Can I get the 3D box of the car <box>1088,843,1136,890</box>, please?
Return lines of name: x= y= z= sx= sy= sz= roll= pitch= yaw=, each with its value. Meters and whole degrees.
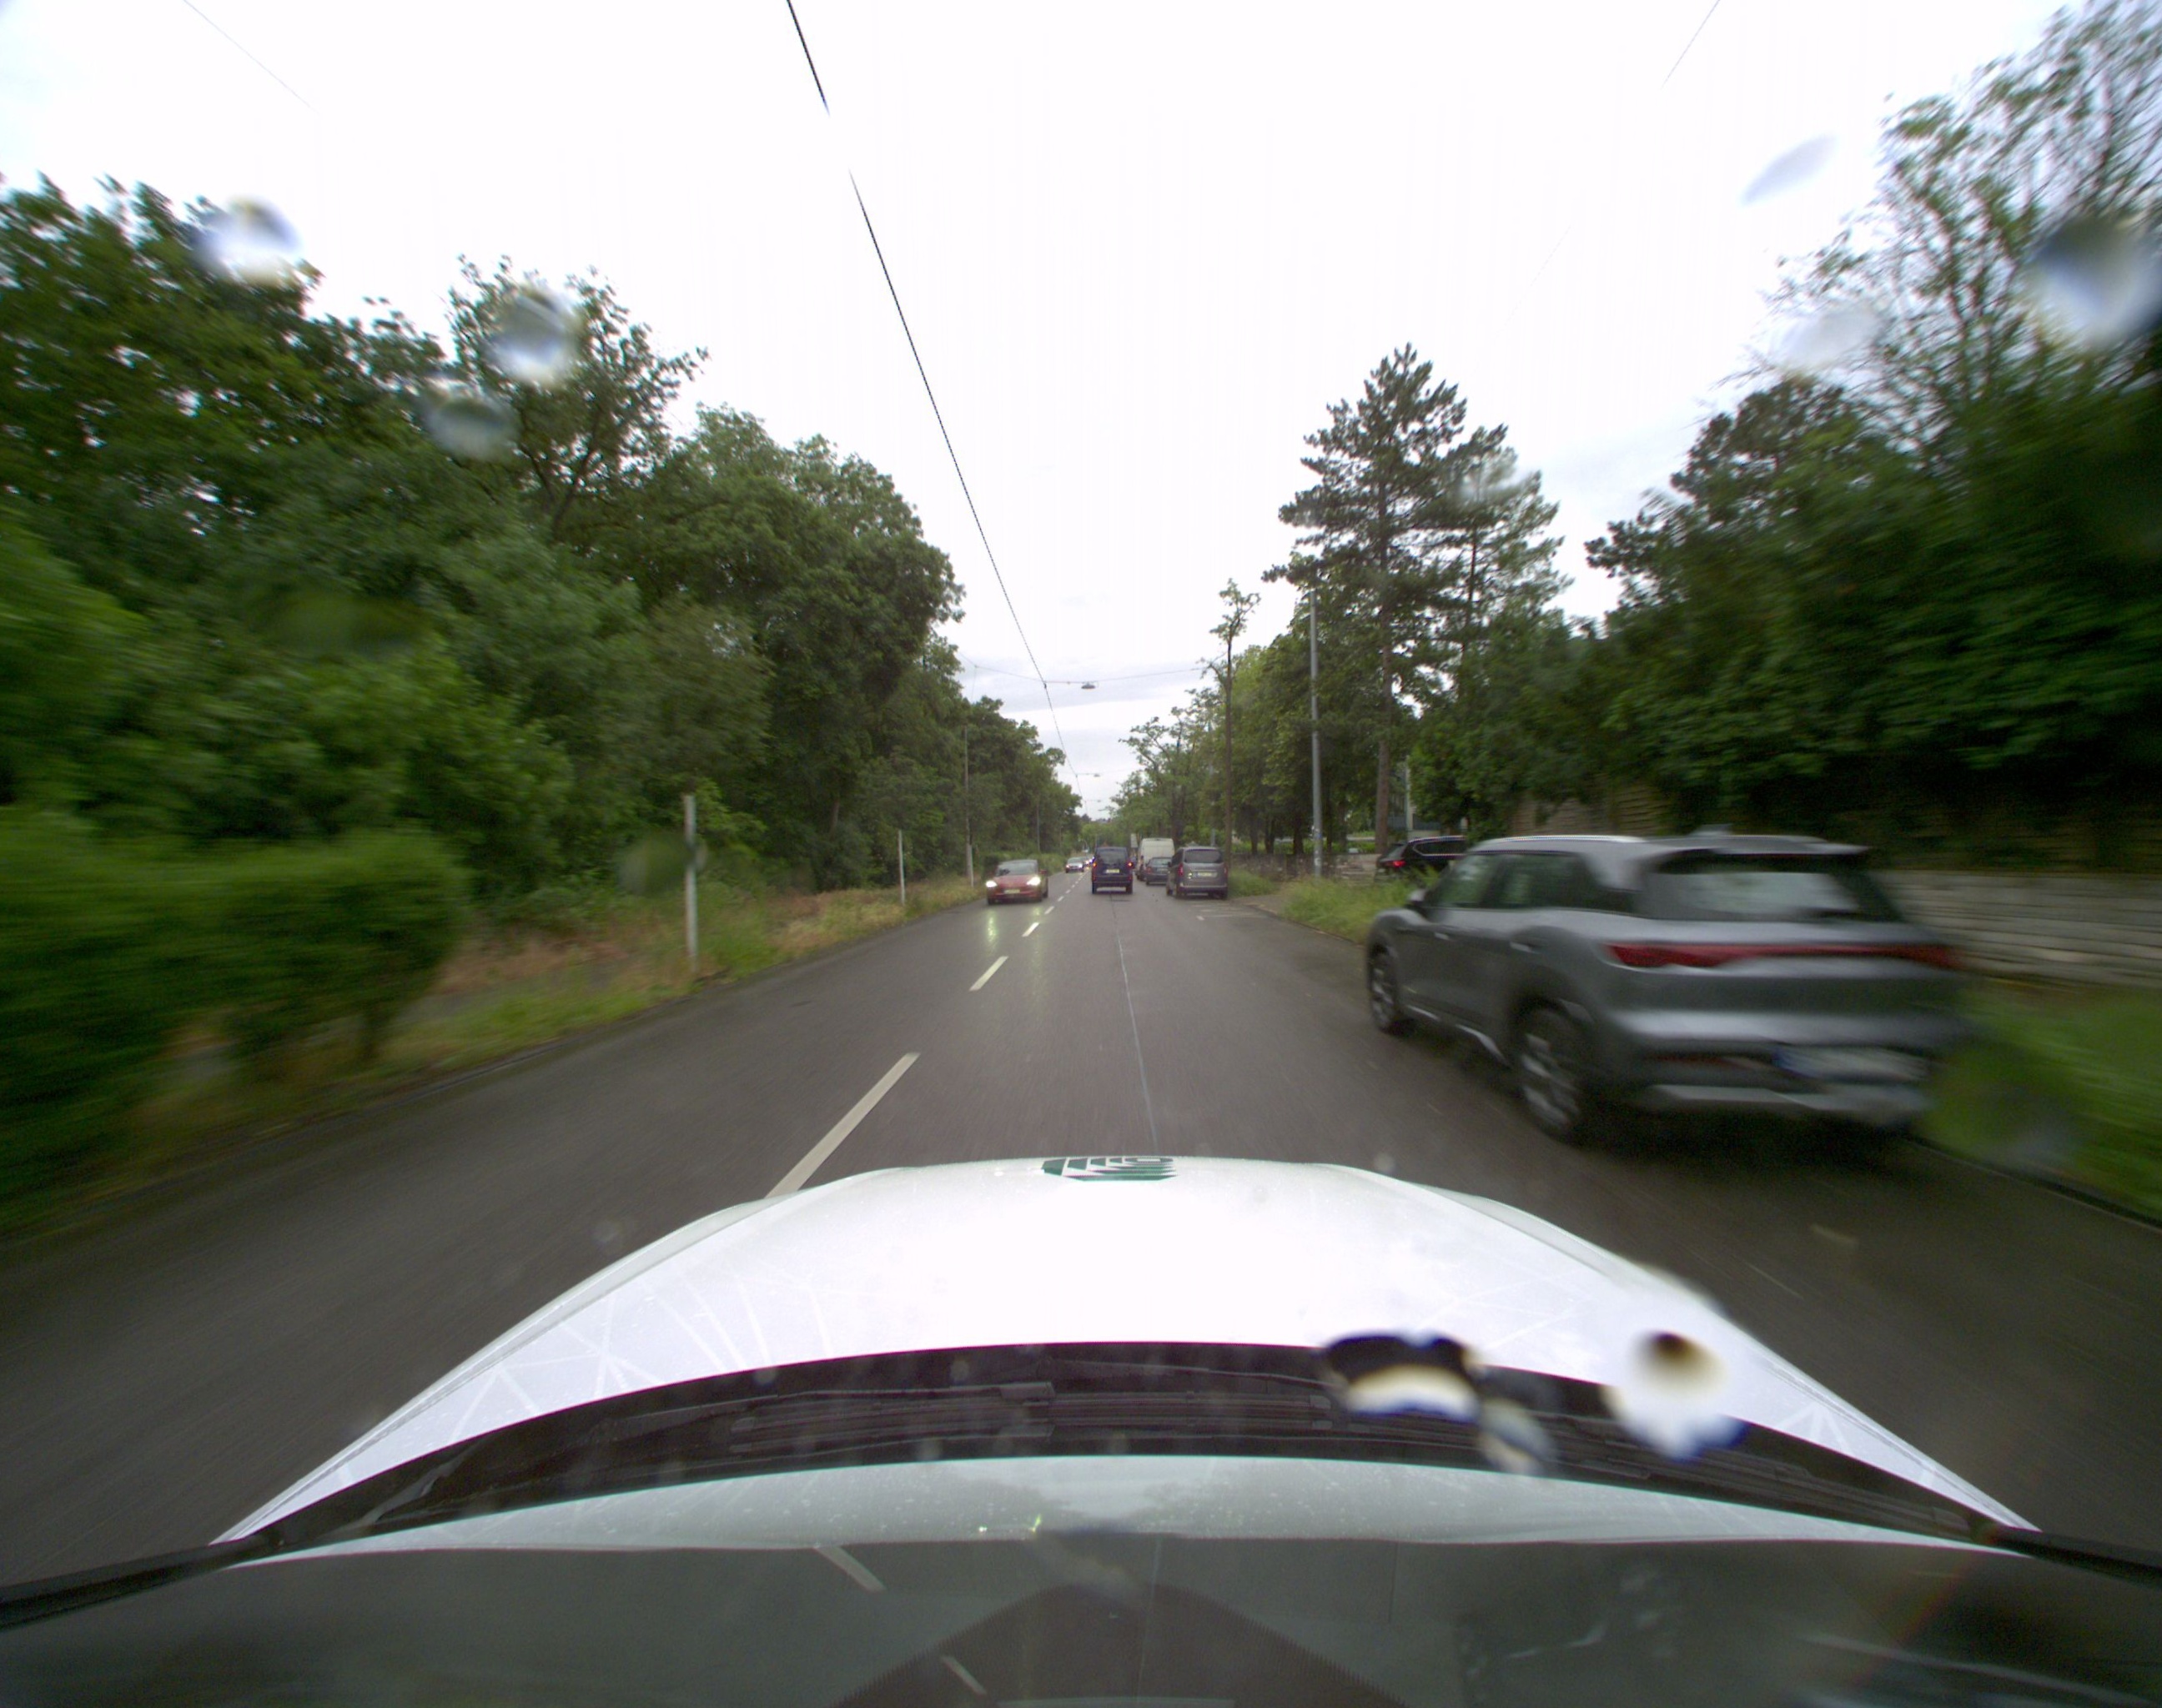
car: x=1.218 y=0.458 z=33.151 sx=1.762 sy=1.830 sz=3.540 roll=0 pitch=1 yaw=-1

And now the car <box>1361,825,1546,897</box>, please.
car: x=10.481 y=0.199 z=23.170 sx=4.293 sy=1.682 sz=2.001 roll=-4 pitch=-1 yaw=1

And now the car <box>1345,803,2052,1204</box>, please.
car: x=3.354 y=0.616 z=5.672 sx=1.767 sy=1.723 sz=4.329 roll=0 pitch=1 yaw=2

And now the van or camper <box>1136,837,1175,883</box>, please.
van or camper: x=4.516 y=0.332 z=50.066 sx=2.071 sy=2.650 sz=5.348 roll=0 pitch=1 yaw=1

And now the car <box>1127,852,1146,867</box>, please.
car: x=5.618 y=0.537 z=82.848 sx=1.714 sy=1.505 sz=4.052 roll=0 pitch=1 yaw=2

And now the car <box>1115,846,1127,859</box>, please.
car: x=7.903 y=-0.258 z=160.446 sx=2.197 sy=2.449 sz=4.731 roll=-1 pitch=0 yaw=2

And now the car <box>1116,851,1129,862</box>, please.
car: x=5.673 y=0.346 z=111.728 sx=1.627 sy=1.510 sz=2.957 roll=0 pitch=1 yaw=0

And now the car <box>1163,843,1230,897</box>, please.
car: x=4.081 y=0.513 z=29.454 sx=1.809 sy=1.813 sz=4.282 roll=0 pitch=1 yaw=0

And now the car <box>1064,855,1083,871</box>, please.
car: x=-0.711 y=0.916 z=80.227 sx=1.777 sy=1.479 sz=3.968 roll=-2 pitch=-1 yaw=1

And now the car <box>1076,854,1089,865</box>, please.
car: x=0.201 y=0.816 z=119.745 sx=1.723 sy=1.492 sz=4.001 roll=-3 pitch=1 yaw=1

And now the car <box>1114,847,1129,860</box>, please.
car: x=4.779 y=-0.062 z=96.381 sx=1.613 sy=1.508 sz=3.834 roll=0 pitch=1 yaw=0

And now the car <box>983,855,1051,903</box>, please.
car: x=-2.144 y=0.803 z=28.491 sx=1.853 sy=1.480 sz=4.158 roll=-2 pitch=0 yaw=2

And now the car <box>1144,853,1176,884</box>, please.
car: x=4.074 y=0.720 z=42.277 sx=1.618 sy=1.464 sz=3.813 roll=0 pitch=1 yaw=5
